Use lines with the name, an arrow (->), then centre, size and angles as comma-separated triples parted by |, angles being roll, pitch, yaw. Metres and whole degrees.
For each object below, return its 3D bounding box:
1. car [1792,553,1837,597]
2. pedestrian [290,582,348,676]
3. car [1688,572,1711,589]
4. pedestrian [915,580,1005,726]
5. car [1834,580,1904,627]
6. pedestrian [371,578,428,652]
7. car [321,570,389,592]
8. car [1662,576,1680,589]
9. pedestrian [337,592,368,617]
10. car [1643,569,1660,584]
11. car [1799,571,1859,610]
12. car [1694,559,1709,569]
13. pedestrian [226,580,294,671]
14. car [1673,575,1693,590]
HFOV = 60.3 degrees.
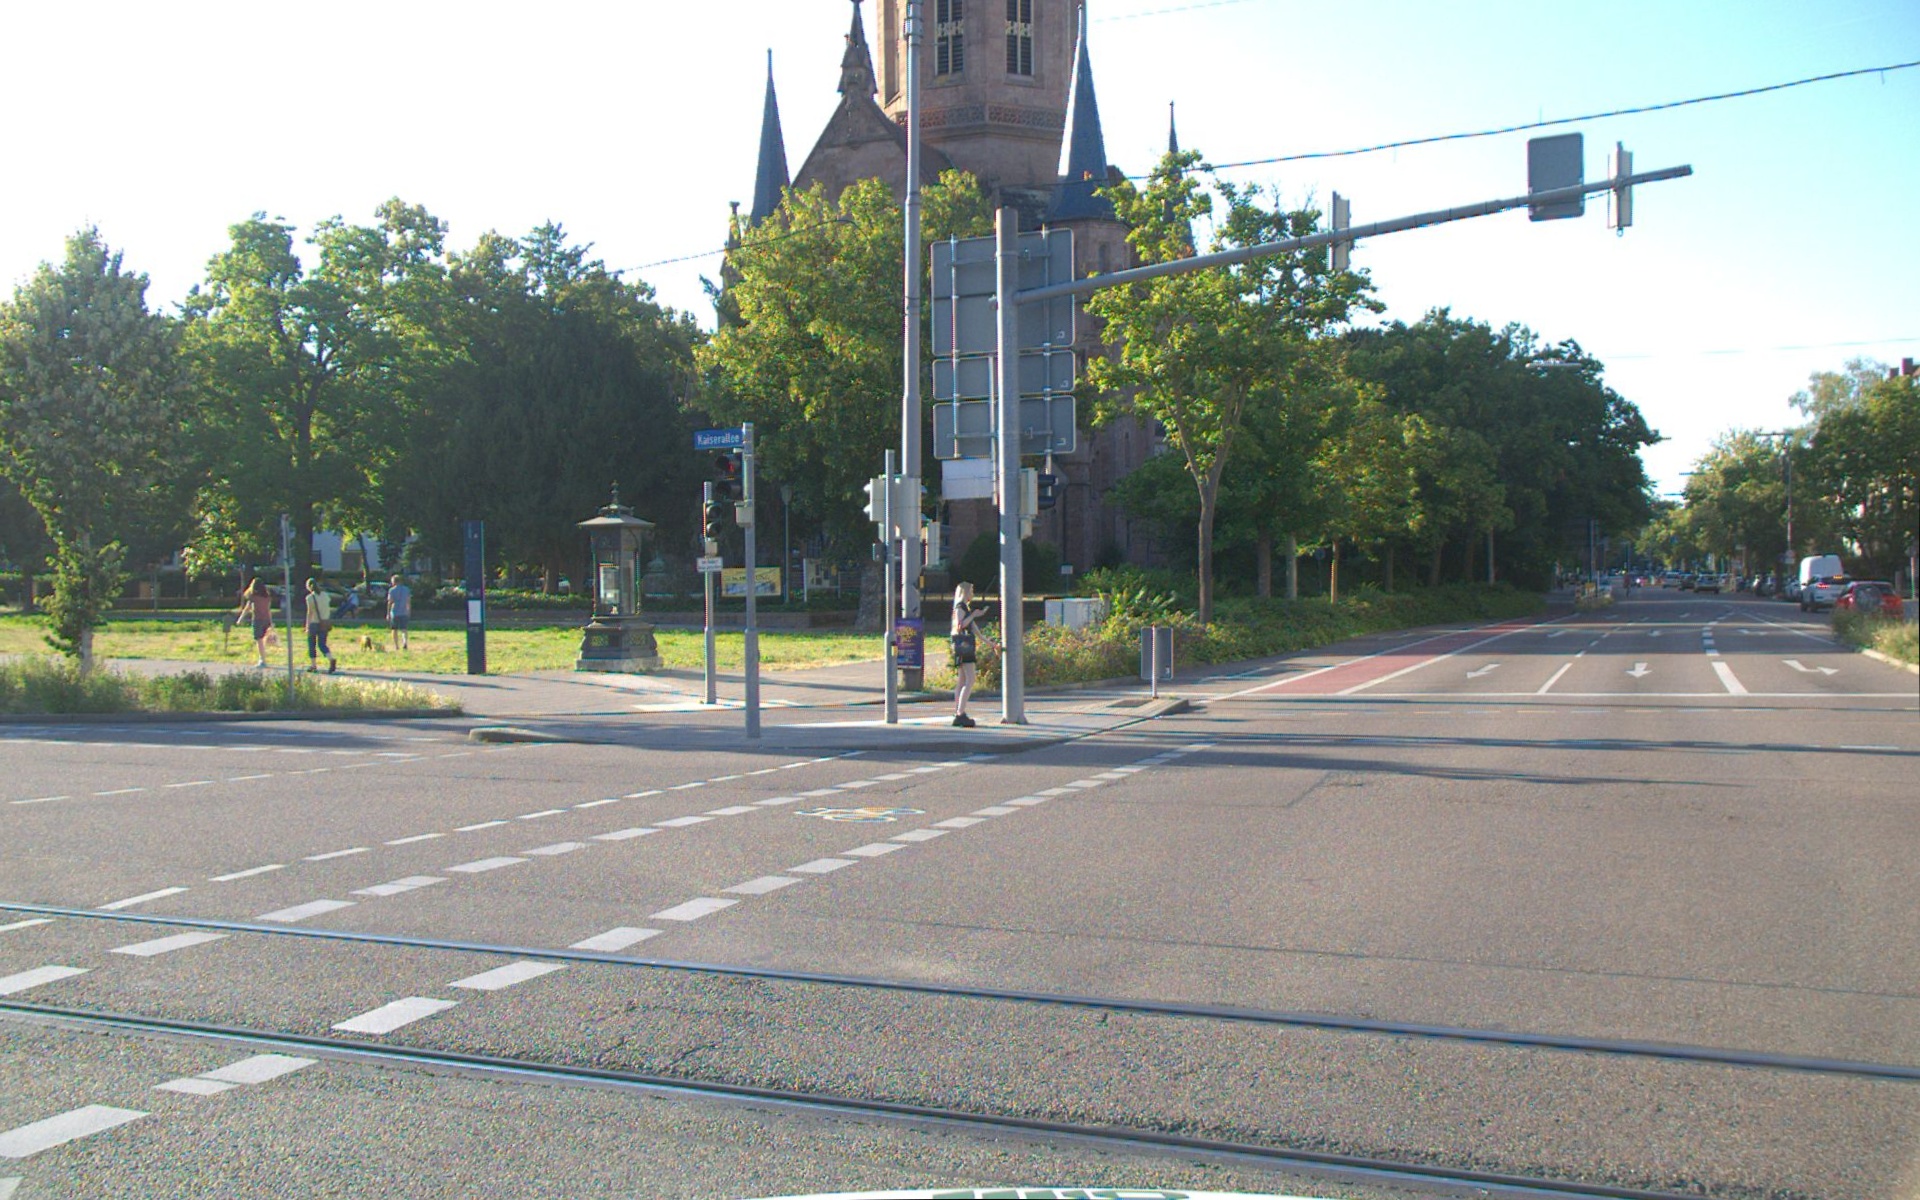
car -> 49.738, -1.484, 96.328 | 1.953, 2.483, 3.999 | 1, 1, 22
pedestrian -> -12.048, 0.530, 31.086 | 0.880, 1.726, 0.706 | 2, 1, 43
car -> 59.541, -1.590, 133.139 | 1.562, 1.289, 3.266 | 0, 1, 22
pedestrian -> 0.006, 0.640, 20.647 | 0.793, 1.769, 0.968 | 0, 0, 24
car -> 31.095, 0.085, 56.650 | 1.636, 1.488, 4.000 | 1, 1, 22
pedestrian -> -13.407, 0.338, 39.580 | 0.993, 1.726, 0.844 | 1, 1, 22
car -> -45.433, -1.434, 124.174 | 4.354, 1.599, 2.002 | 0, 1, 11
car -> 72.126, -1.771, 167.789 | 1.562, 1.289, 3.266 | 0, 1, 22
pedestrian -> -24.409, 0.178, 66.463 | 0.785, 0.970, 1.174 | 1, 1, 1
car -> 82.757, -2.831, 197.917 | 1.848, 1.700, 3.999 | 1, 1, 22
car -> 37.970, -0.423, 72.366 | 1.877, 1.635, 4.269 | 1, 1, 22
car -> 89.549, -4.348, 199.650 | 1.562, 1.289, 3.266 | 0, 1, 22
pedestrian -> -13.629, 0.476, 32.186 | 0.997, 1.726, 0.841 | 1, 1, 38
car -> 65.533, -1.616, 149.918 | 1.562, 1.289, 3.266 | 0, 1, 22
